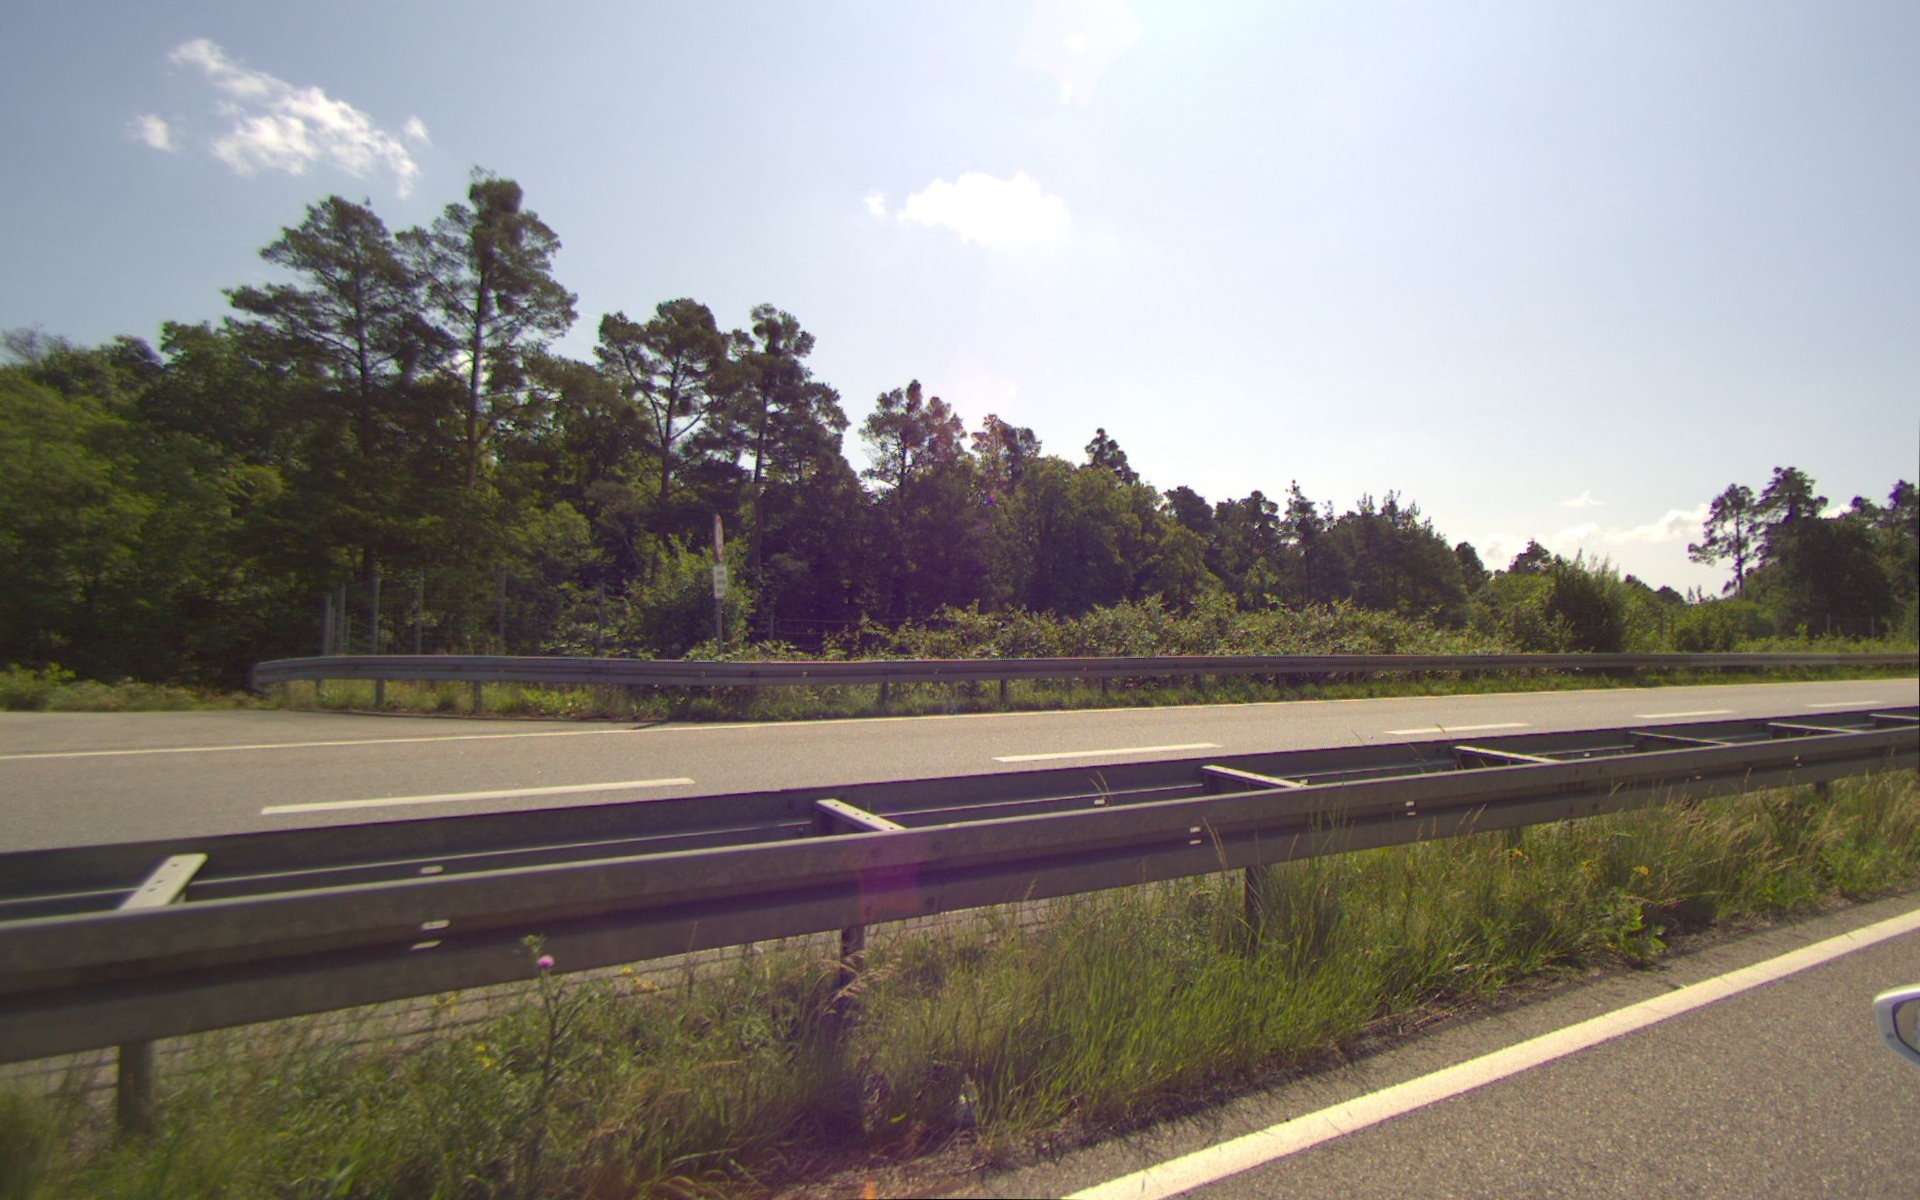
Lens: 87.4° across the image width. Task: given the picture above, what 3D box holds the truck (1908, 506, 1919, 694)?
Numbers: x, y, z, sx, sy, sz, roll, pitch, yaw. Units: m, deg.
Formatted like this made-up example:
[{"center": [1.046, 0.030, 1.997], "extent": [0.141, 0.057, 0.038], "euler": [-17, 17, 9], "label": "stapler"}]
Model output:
[{"center": [24.616, 0.070, 22.961], "extent": [5.530, 4.243, 2.755], "euler": [1, 0, -29], "label": "truck"}]
